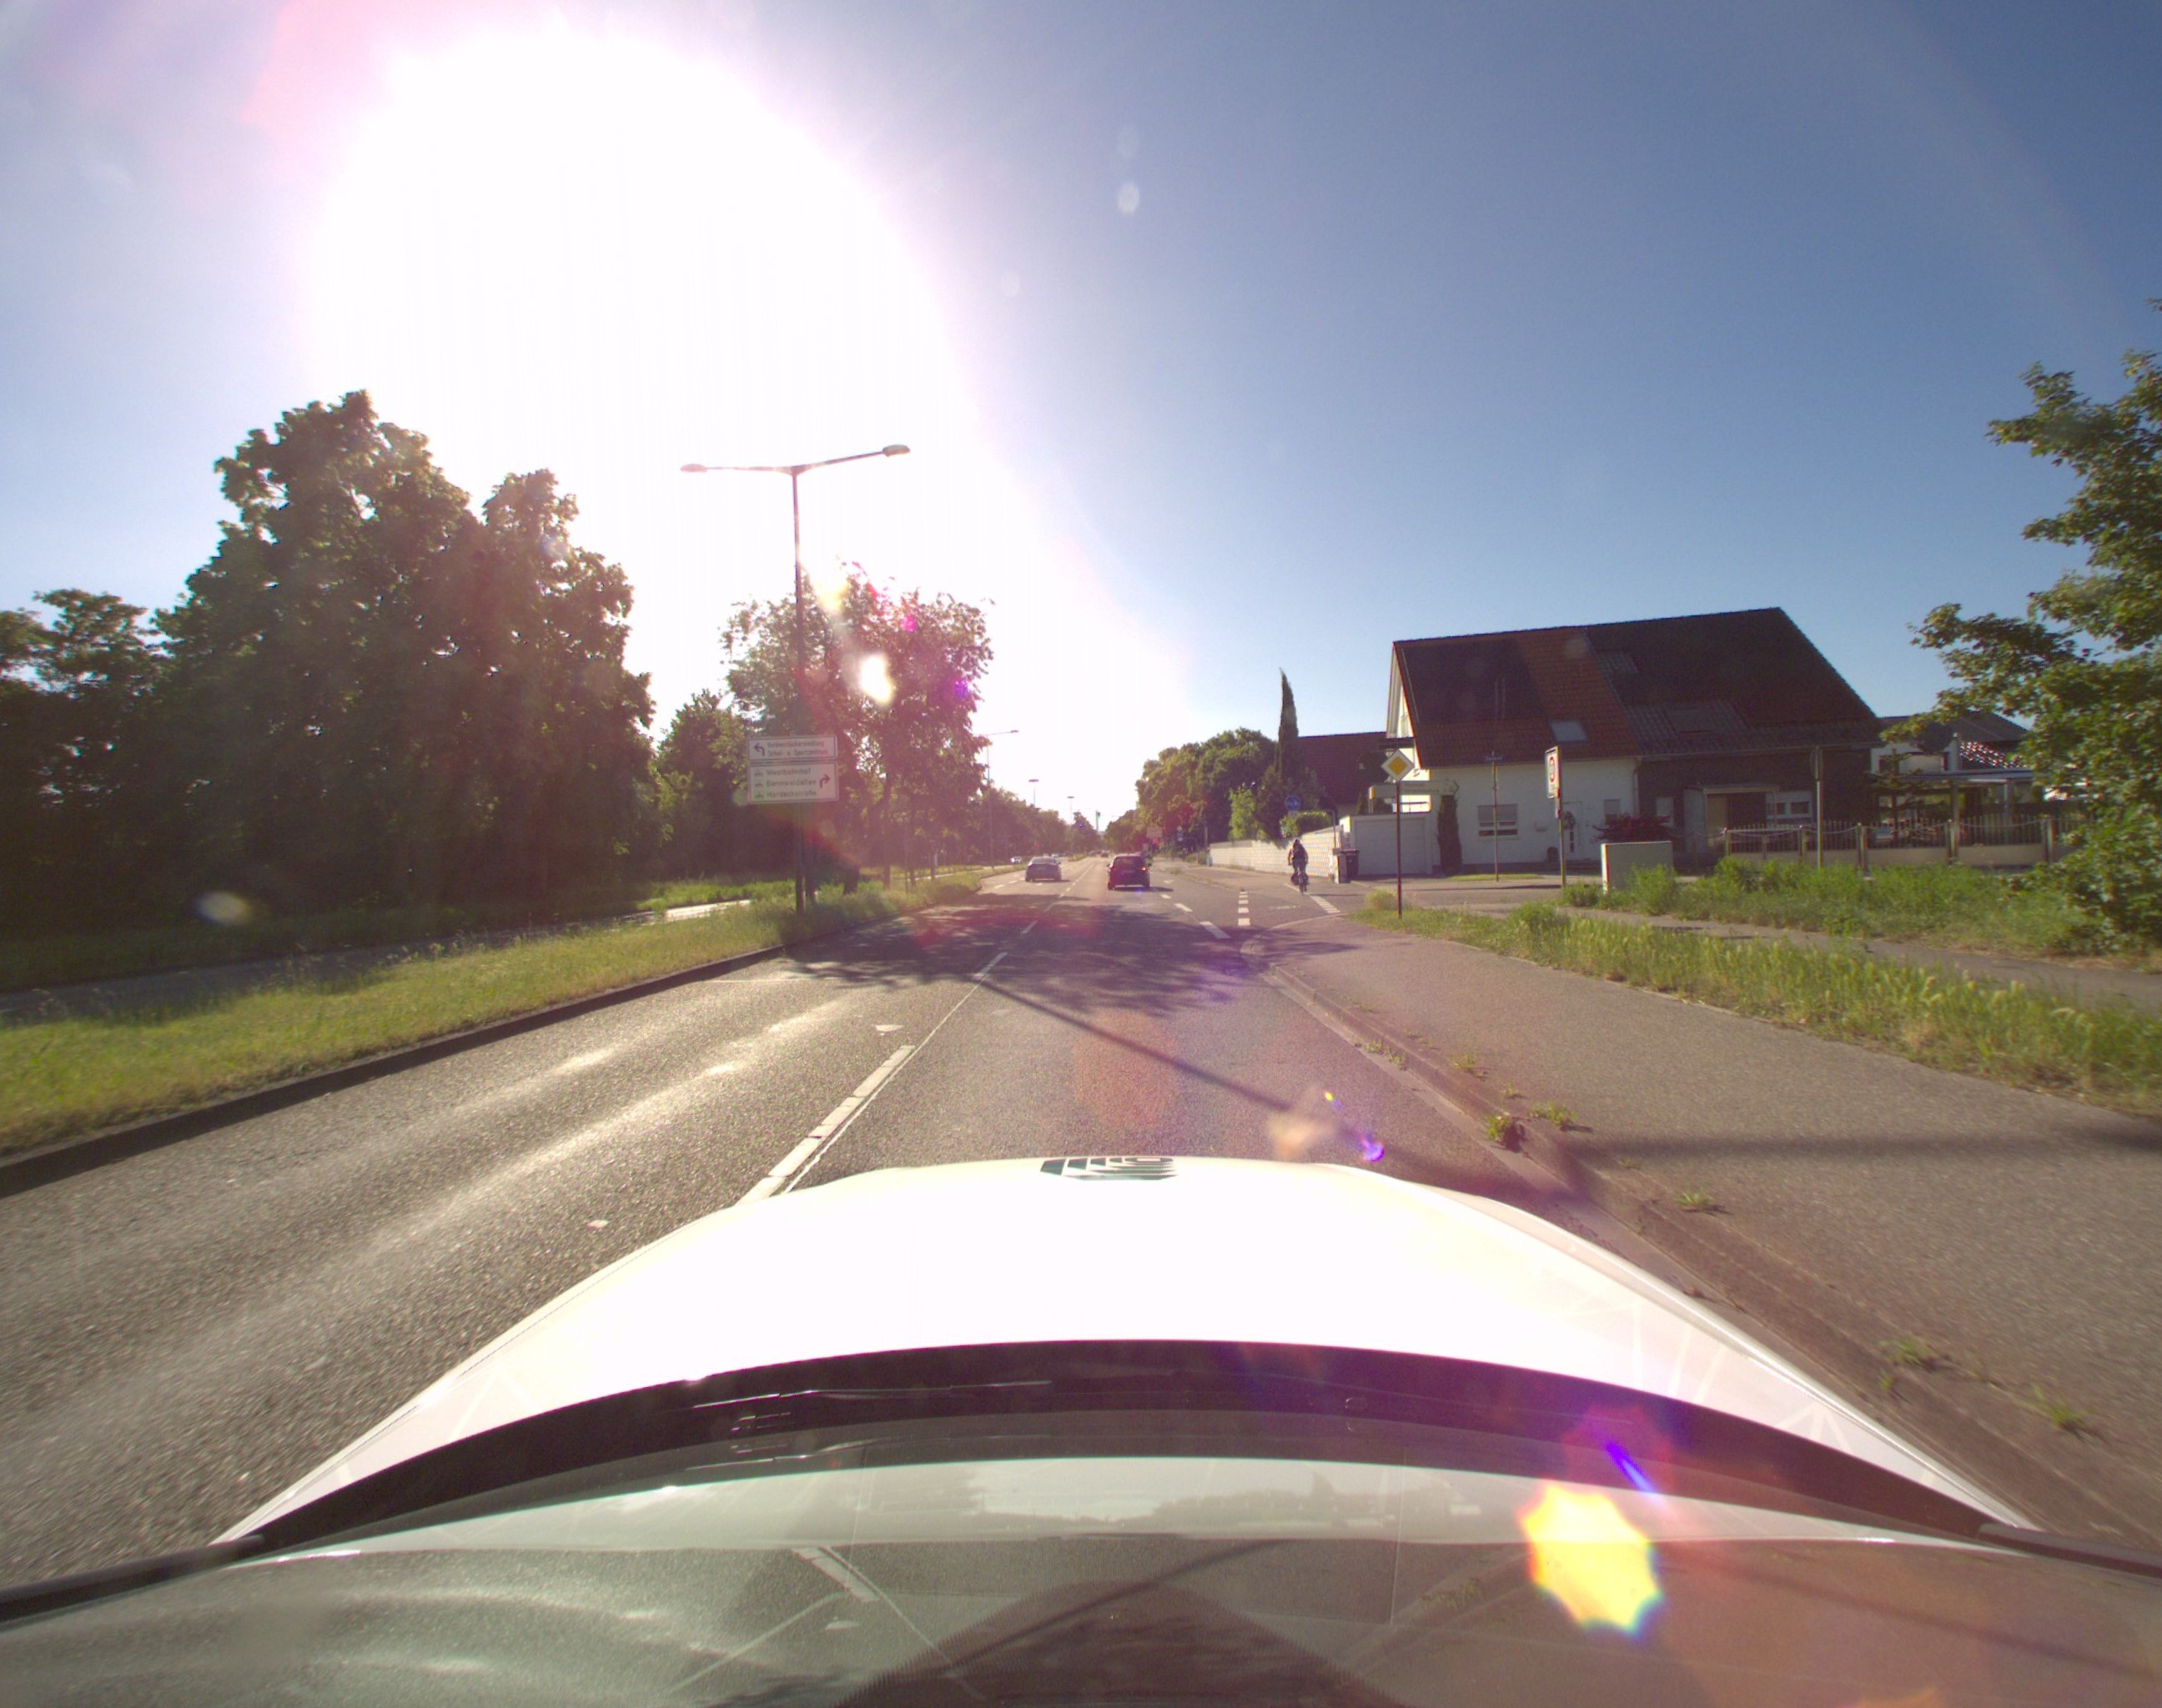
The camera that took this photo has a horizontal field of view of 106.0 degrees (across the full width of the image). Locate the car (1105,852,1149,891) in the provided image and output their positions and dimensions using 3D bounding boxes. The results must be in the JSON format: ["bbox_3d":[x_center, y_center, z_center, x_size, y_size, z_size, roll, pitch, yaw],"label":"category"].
[{"bbox_3d":[1.910,0.722,34.659,1.749,1.509,3.810,-1,0,2],"label":"car"}]

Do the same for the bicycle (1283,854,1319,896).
[{"bbox_3d":[6.622,0.609,24.645,0.571,1.155,2.143,-5,0,4],"label":"bicycle"}]

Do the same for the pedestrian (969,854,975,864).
[{"bbox_3d":[-20.449,0.934,152.731,0.842,1.835,0.550,-2,0,4],"label":"pedestrian"}]

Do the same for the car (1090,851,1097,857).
[{"bbox_3d":[3.547,0.032,229.670,1.818,1.615,3.840,0,0,0],"label":"car"}]

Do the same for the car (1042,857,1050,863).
[{"bbox_3d":[-9.108,1.521,213.371,1.857,1.684,4.262,0,0,2],"label":"car"}]

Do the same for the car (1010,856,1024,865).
[{"bbox_3d":[-11.354,1.162,144.399,1.904,1.703,4.410,0,-1,2],"label":"car"}]

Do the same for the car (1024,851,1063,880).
[{"bbox_3d":[-2.139,0.664,47.208,1.881,1.552,4.001,-2,-1,2],"label":"car"}]

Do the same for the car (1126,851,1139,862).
[{"bbox_3d":[7.504,0.323,117.442,1.724,1.459,3.845,-2,0,5],"label":"car"}]

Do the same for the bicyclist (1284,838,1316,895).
[{"bbox_3d":[6.617,0.354,24.616,0.627,1.632,0.983,-5,0,4],"label":"bicyclist"}]

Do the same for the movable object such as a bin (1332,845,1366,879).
[{"bbox_3d":[10.086,0.290,30.682,0.996,1.205,1.065,-4,-1,9],"label":"movable object such as a bin"}]

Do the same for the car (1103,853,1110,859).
[{"bbox_3d":[6.253,0.512,201.162,1.726,1.585,3.841,0,0,1],"label":"car"}]
